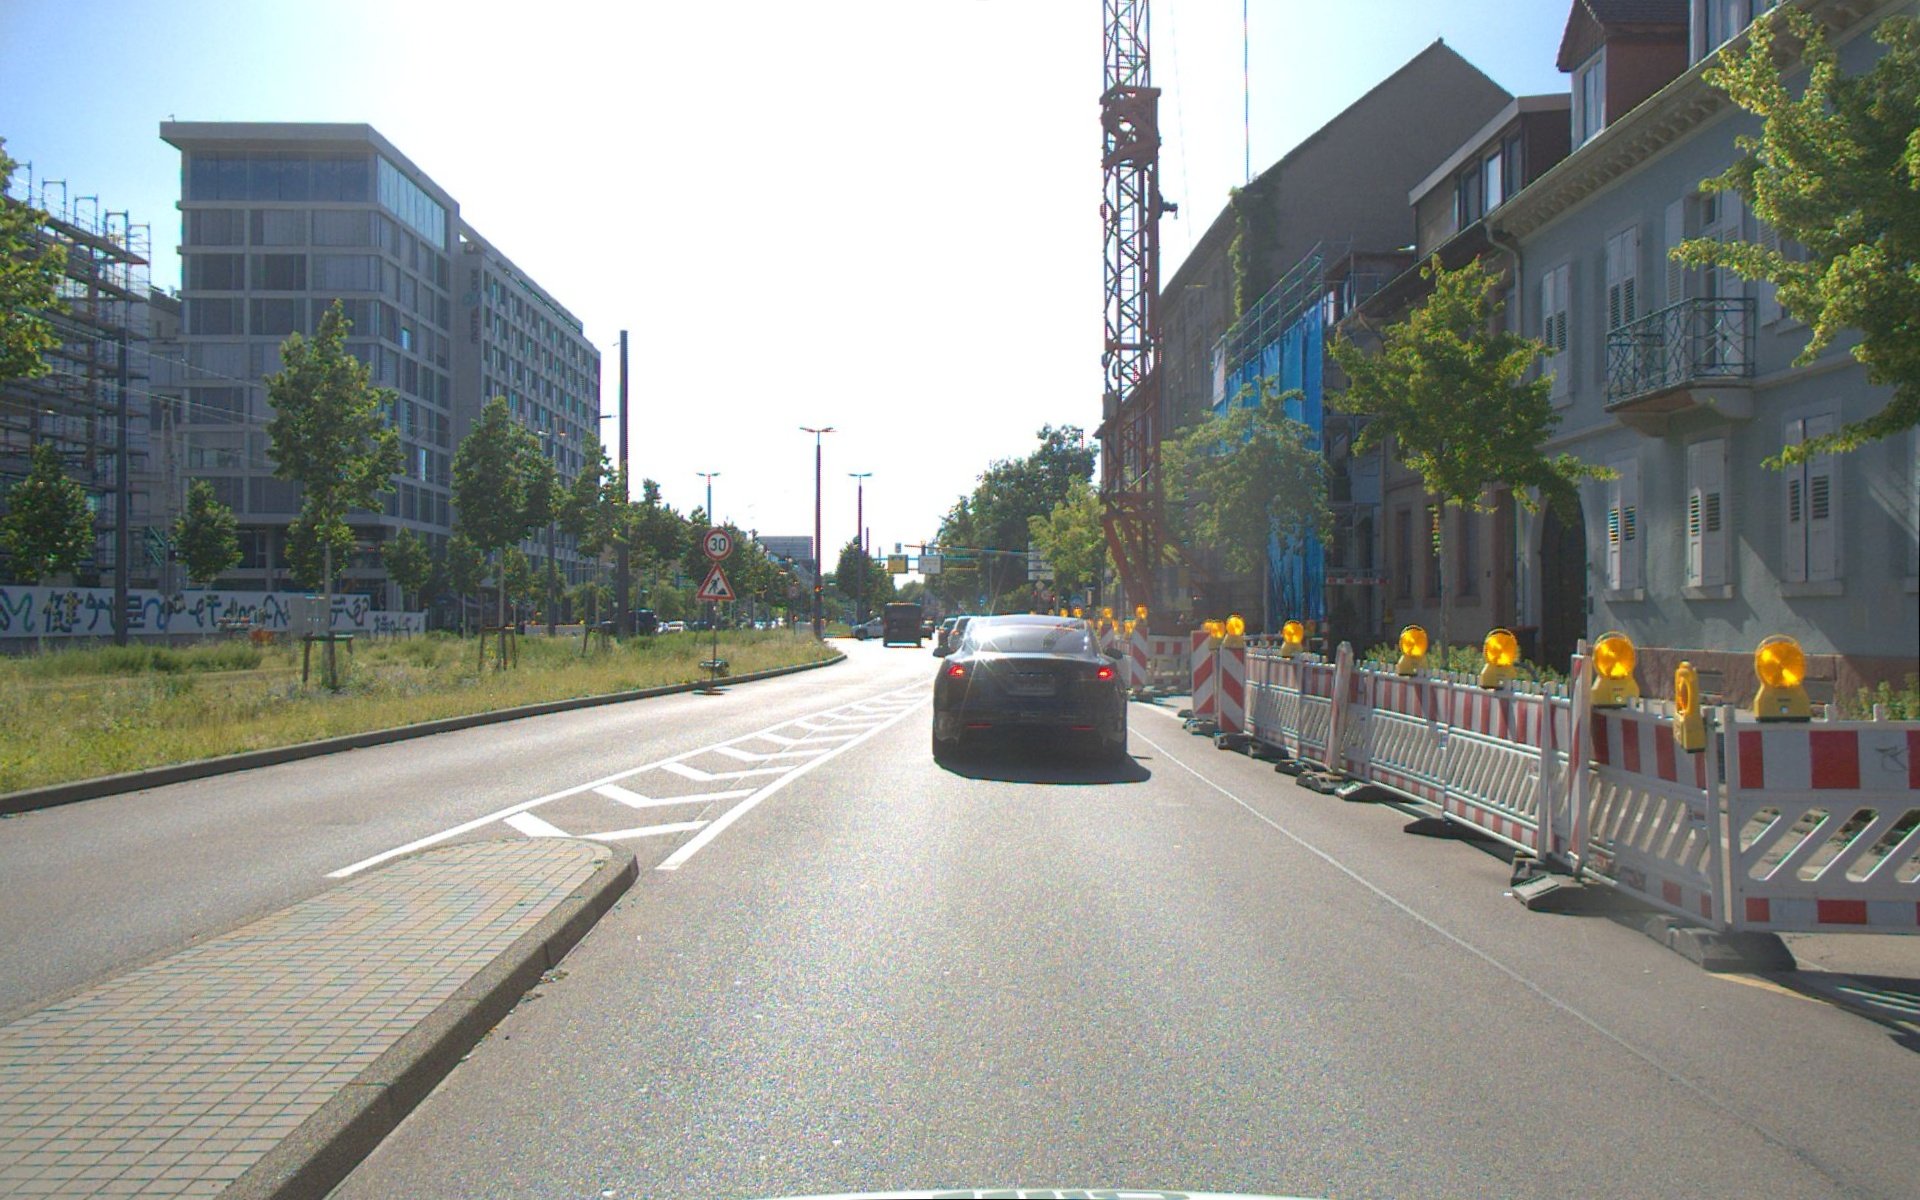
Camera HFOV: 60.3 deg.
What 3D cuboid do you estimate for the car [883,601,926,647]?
[{"bbox_3d":[-2.929,1.237,86.780,2.173,2.307,4.482,1,0,-2],"label":"car"}]

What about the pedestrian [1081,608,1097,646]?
[{"bbox_3d":[6.743,1.385,86.371,0.645,1.946,0.587,-3,-1,-2],"label":"pedestrian"}]

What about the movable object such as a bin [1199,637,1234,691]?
[{"bbox_3d":[5.172,1.288,33.434,0.576,1.076,0.730,1,-1,-1],"label":"movable object such as a bin"}]

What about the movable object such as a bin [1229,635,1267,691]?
[{"bbox_3d":[5.848,1.269,33.649,0.583,1.076,0.730,-3,-1,-1],"label":"movable object such as a bin"}]

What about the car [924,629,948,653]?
[{"bbox_3d":[-1.927,3.254,131.886,1.756,1.906,3.847,1,-1,-3],"label":"car"}]

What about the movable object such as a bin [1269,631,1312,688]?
[{"bbox_3d":[6.708,1.204,33.584,0.576,1.076,0.782,-4,0,-6],"label":"movable object such as a bin"}]

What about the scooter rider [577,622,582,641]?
[{"bbox_3d":[-30.407,2.538,132.160,0.335,1.478,0.239,0,-1,-1],"label":"scooter rider"}]

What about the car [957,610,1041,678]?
[{"bbox_3d":[0.845,0.989,38.547,1.712,1.452,4.836,1,-1,-2],"label":"car"}]

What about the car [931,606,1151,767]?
[{"bbox_3d":[0.730,0.843,17.845,2.010,1.469,4.522,1,-1,-2],"label":"car"}]

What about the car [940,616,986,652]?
[{"bbox_3d":[0.090,1.436,70.534,1.756,1.453,3.847,1,-1,-3],"label":"car"}]

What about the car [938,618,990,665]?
[{"bbox_3d":[0.118,1.439,57.786,1.714,1.554,4.004,1,-1,-1],"label":"car"}]

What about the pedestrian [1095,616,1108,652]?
[{"bbox_3d":[7.401,1.791,86.398,0.551,1.853,0.587,-3,-1,-2],"label":"pedestrian"}]

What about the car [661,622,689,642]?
[{"bbox_3d":[-25.161,2.837,146.162,1.754,1.680,3.999,0,-1,-1],"label":"car"}]

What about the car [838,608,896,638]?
[{"bbox_3d":[-6.282,1.561,112.216,3.894,1.952,1.914,0,-1,-3],"label":"car"}]
